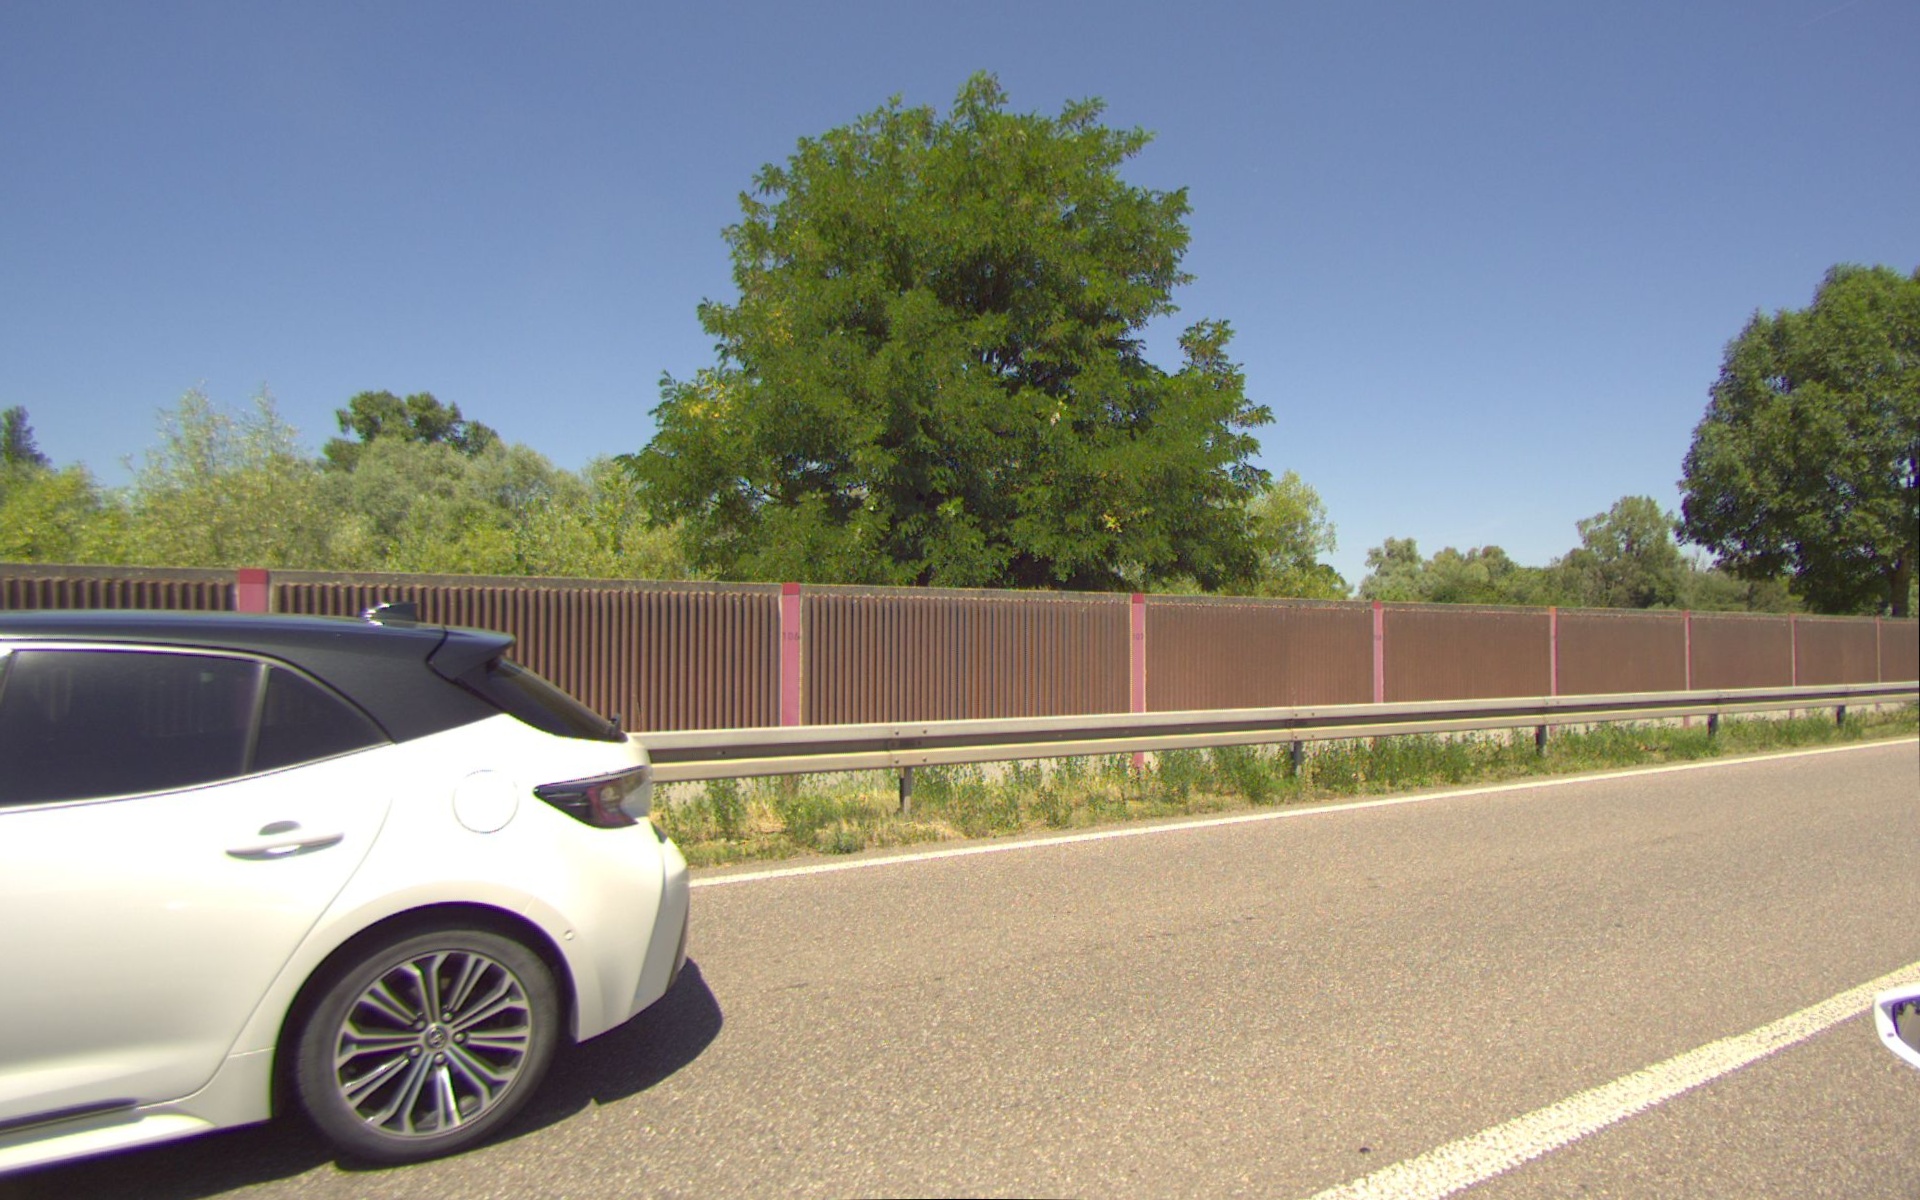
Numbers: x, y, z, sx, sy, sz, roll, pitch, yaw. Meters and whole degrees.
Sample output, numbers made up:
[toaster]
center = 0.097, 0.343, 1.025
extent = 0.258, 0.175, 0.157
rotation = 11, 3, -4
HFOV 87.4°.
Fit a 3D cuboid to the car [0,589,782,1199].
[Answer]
[car]
center = -2.943, 0.704, 2.698
extent = 4.560, 1.479, 1.678
rotation = 1, 0, -29
